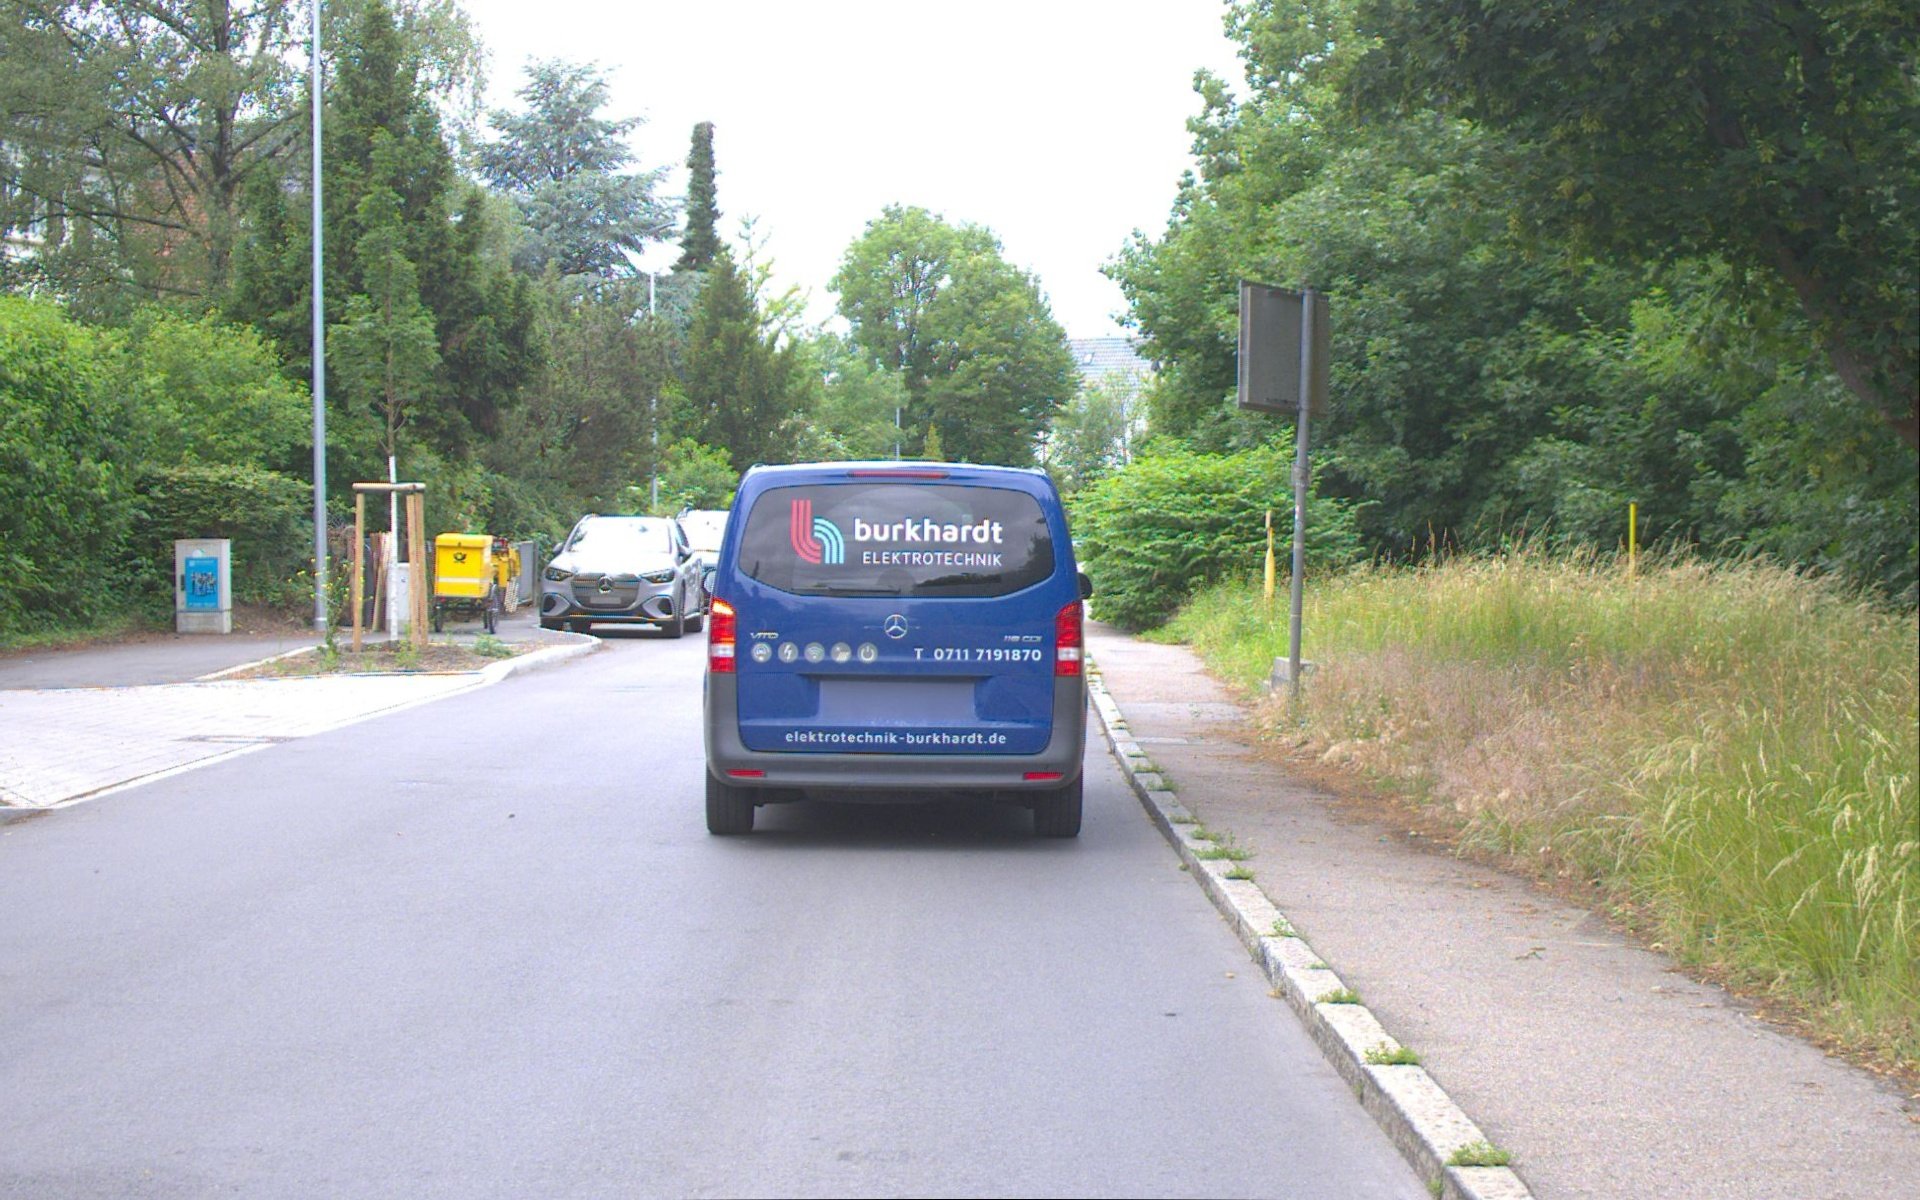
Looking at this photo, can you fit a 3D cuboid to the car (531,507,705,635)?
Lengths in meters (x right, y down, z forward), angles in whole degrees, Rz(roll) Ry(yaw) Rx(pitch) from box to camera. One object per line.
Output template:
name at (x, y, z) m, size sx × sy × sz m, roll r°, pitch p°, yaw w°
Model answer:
car at (-4.654, -0.426, 47.331) m, size 1.836 × 1.625 × 4.300 m, roll 1°, pitch 1°, yaw 1°

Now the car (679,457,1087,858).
car at (-0.475, 0.191, 18.098) m, size 1.888 × 1.837 × 4.001 m, roll 1°, pitch 3°, yaw -3°

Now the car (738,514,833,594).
car at (-4.119, -1.120, 81.870) m, size 1.892 × 1.686 × 4.549 m, roll 1°, pitch 3°, yaw 1°

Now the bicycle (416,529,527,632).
bicycle at (-6.287, -0.267, 44.430) m, size 0.906 × 1.247 × 2.916 m, roll 2°, pitch 1°, yaw 1°

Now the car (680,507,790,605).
car at (-4.320, -0.843, 66.394) m, size 1.831 × 1.798 × 4.000 m, roll 1°, pitch 0°, yaw 0°

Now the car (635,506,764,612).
car at (-4.527, -0.744, 60.230) m, size 1.832 × 1.745 × 4.000 m, roll 1°, pitch 2°, yaw 1°
